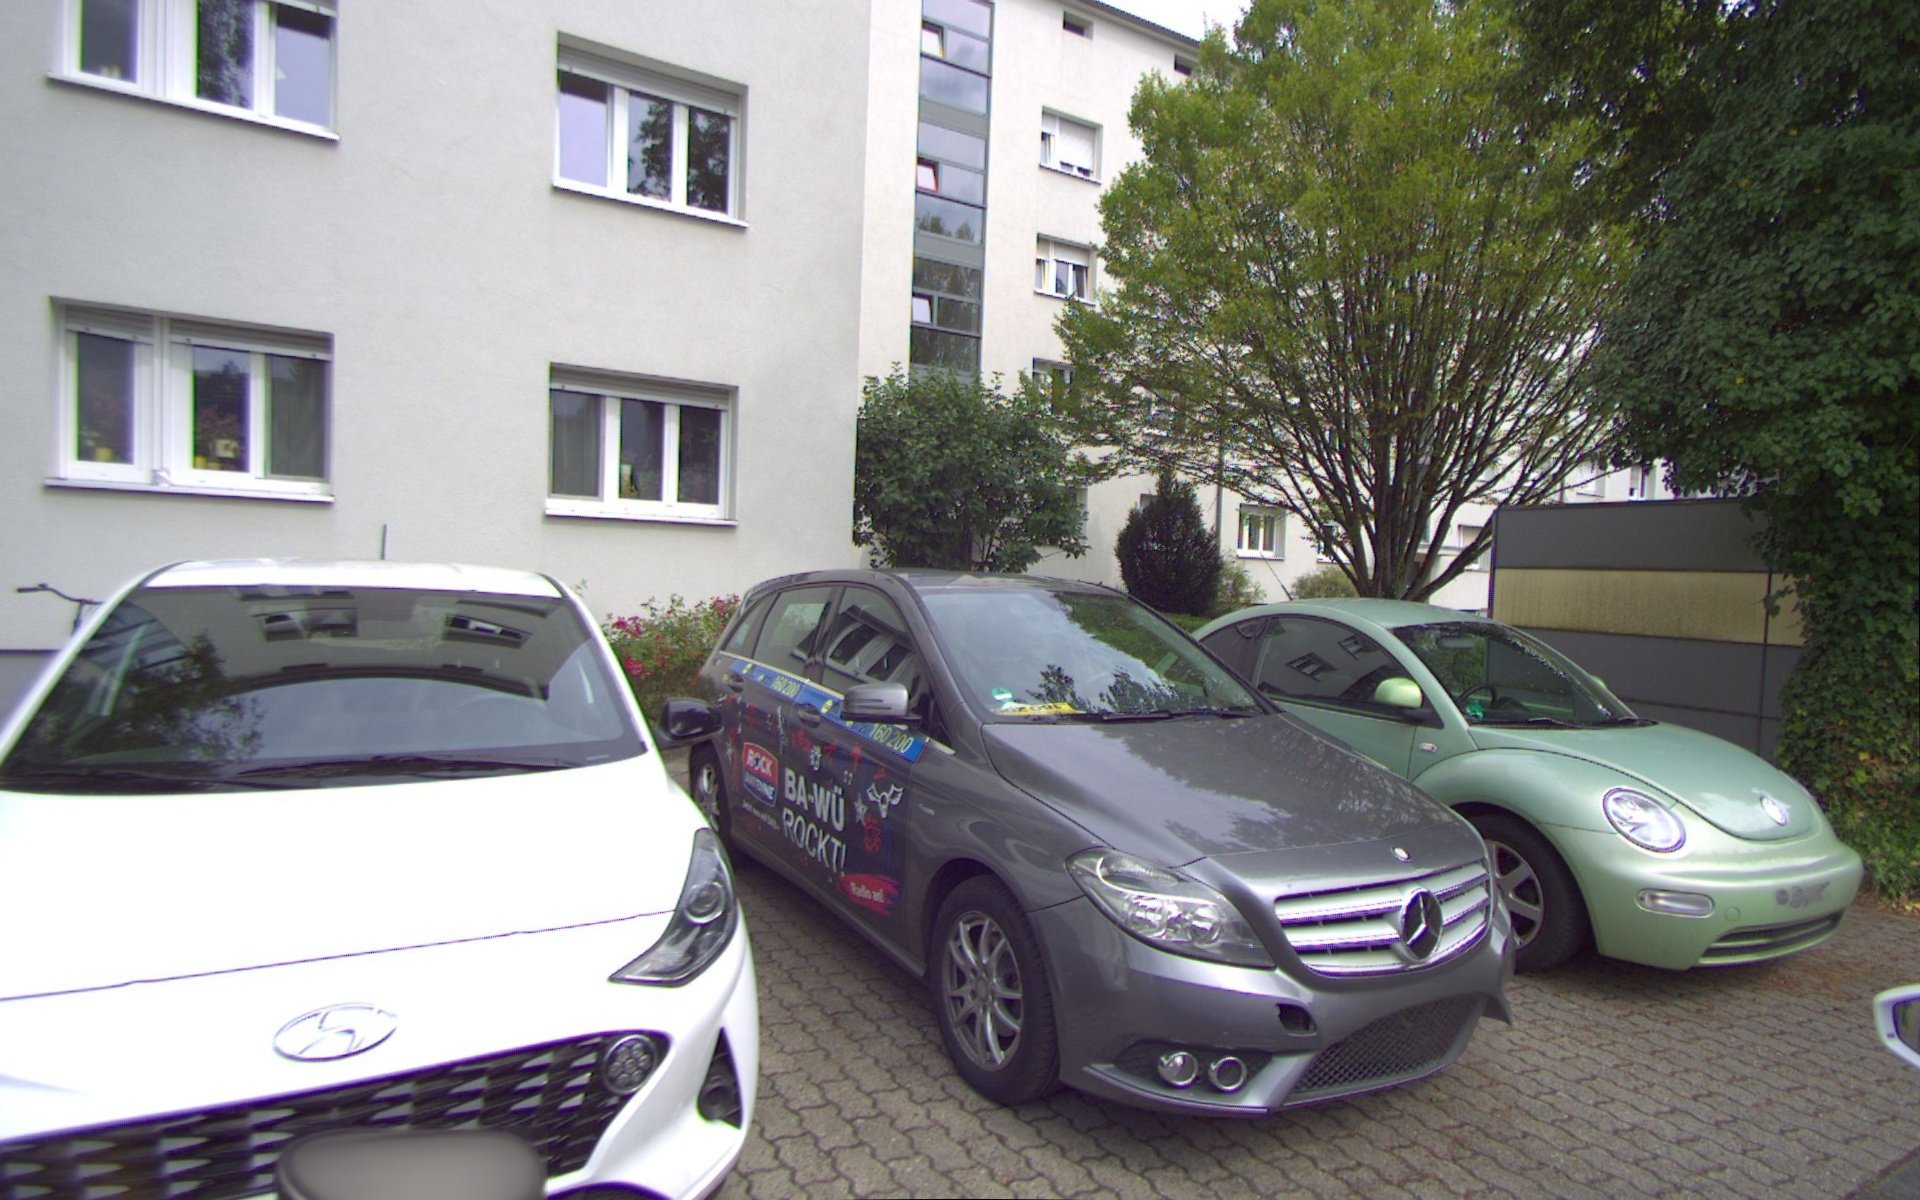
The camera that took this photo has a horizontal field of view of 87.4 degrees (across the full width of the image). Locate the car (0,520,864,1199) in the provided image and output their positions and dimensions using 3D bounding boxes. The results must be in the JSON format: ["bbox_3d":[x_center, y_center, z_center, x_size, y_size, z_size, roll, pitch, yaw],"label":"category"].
[{"bbox_3d":[-1.917,0.584,3.169,1.773,1.479,3.969,1,1,-29],"label":"car"}]

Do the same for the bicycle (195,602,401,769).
[{"bbox_3d":[-4.717,0.552,7.128,1.638,1.017,0.576,2,2,32],"label":"bicycle"}]

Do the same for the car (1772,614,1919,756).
[{"bbox_3d":[11.506,0.985,10.777,1.717,1.484,3.968,1,1,-30],"label":"car"}]

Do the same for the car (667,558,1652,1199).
[{"bbox_3d":[0.145,0.624,4.404,1.819,1.522,4.392,1,1,-29],"label":"car"}]

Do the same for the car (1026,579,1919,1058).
[{"bbox_3d":[2.330,0.694,5.666,1.819,1.522,4.392,1,1,-29],"label":"car"}]

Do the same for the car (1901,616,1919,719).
[{"bbox_3d":[15.573,1.051,13.468,1.717,1.484,3.968,1,1,-30],"label":"car"}]

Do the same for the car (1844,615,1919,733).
[{"bbox_3d":[13.719,1.017,12.308,1.717,1.484,3.968,1,1,-30],"label":"car"}]

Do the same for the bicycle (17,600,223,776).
[{"bbox_3d":[-5.685,0.534,6.775,1.638,1.017,0.576,2,2,32],"label":"bicycle"}]

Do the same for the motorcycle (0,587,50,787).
[{"bbox_3d":[-6.434,0.482,6.135,1.864,1.138,0.676,2,1,27],"label":"motorcycle"}]
